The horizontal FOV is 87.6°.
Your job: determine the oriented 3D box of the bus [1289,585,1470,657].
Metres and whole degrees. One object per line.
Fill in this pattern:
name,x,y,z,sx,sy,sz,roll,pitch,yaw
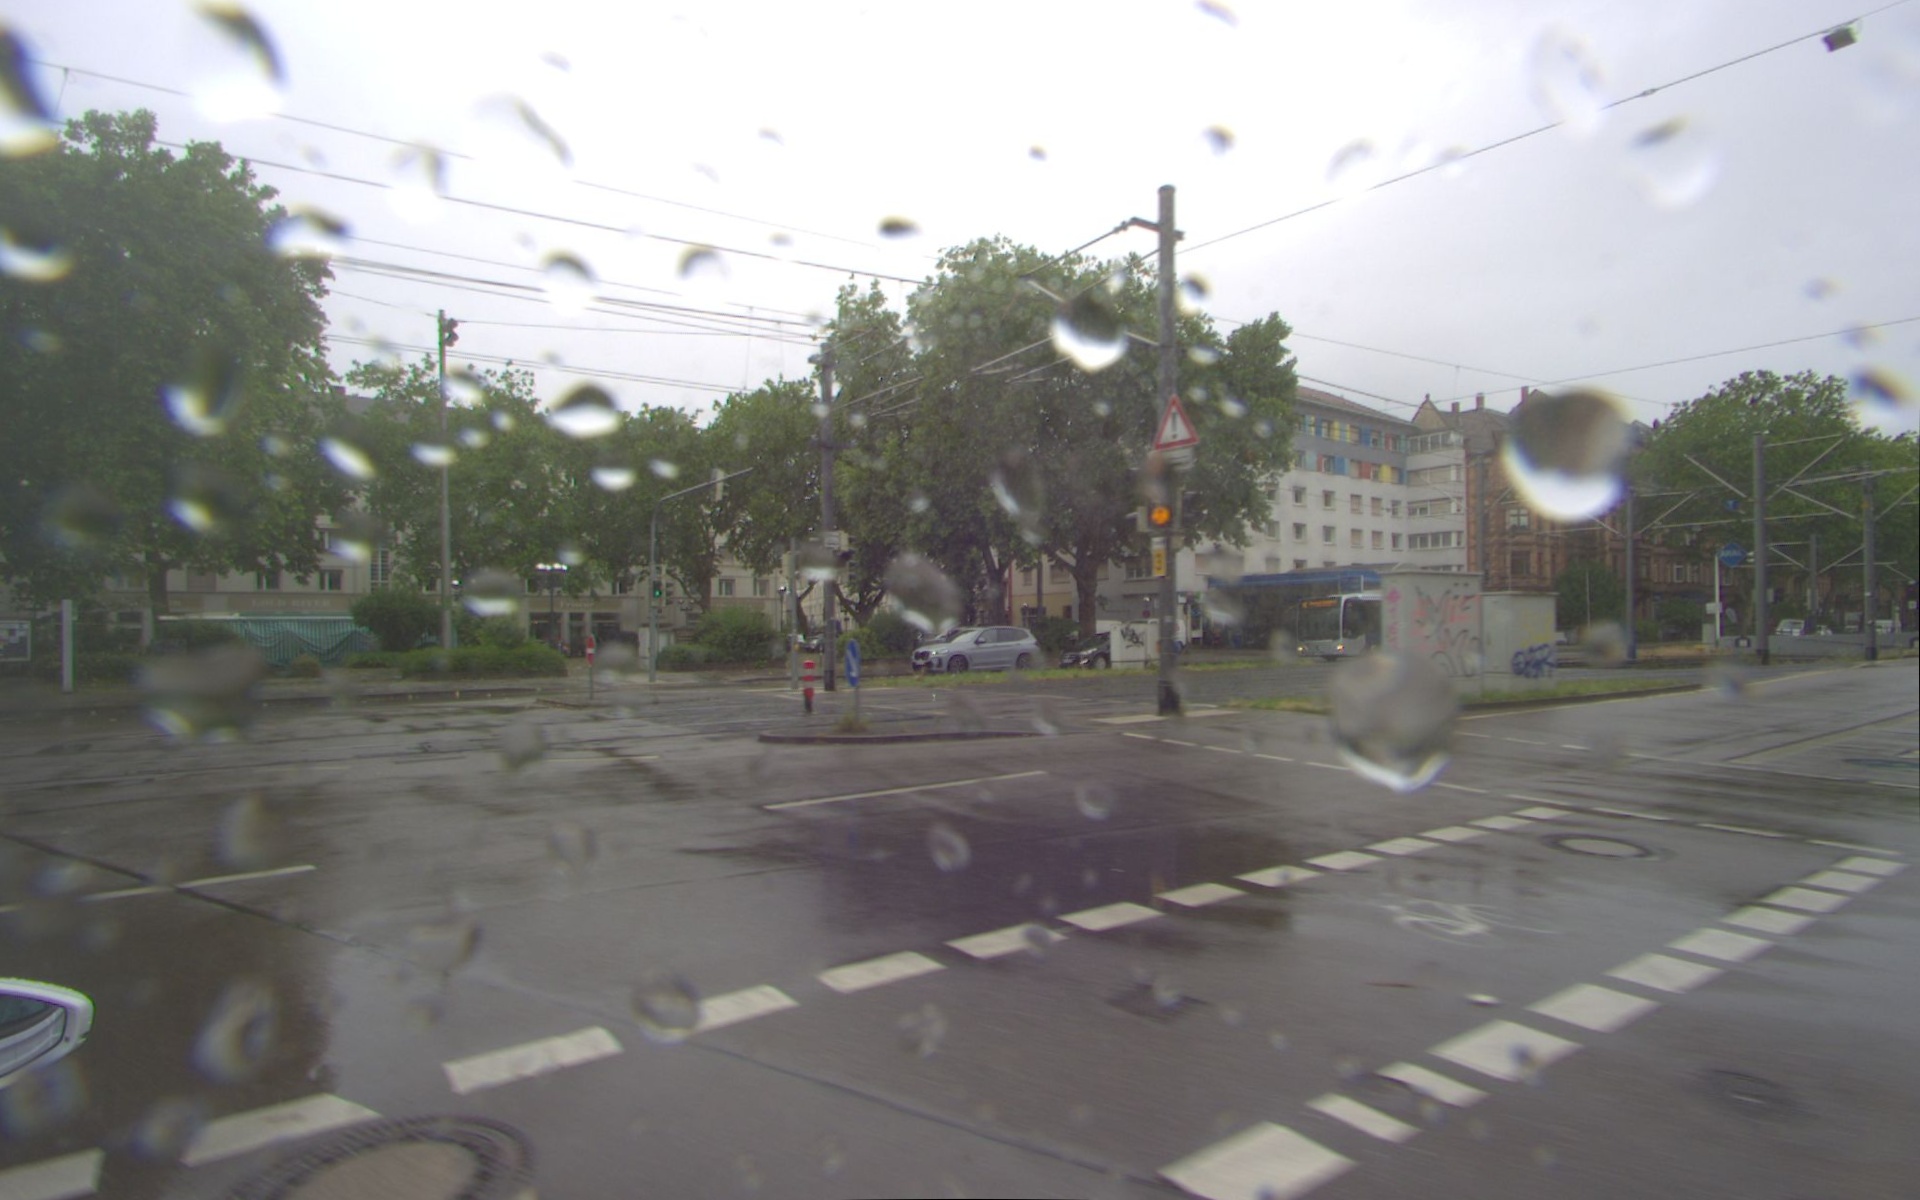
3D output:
bus,20.811,1.033,49.129,11.962,3.153,2.871,1,-1,-39

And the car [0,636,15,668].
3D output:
car,-50.366,2.731,52.007,1.666,1.595,3.706,0,-3,-40

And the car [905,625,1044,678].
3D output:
car,0.534,1.649,33.193,4.502,1.620,1.778,1,-1,-38

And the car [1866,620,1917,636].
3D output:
car,100.543,2.999,108.108,1.754,1.645,3.793,0,-2,-37

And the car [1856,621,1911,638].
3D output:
car,92.704,2.968,100.561,1.754,1.645,3.793,0,-2,-37

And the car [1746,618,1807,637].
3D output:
car,69.867,2.360,85.717,3.762,1.645,1.769,-1,-1,28

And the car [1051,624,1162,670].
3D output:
car,5.461,1.699,37.090,4.130,1.620,1.765,1,-1,-38

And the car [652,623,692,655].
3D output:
car,-21.383,2.903,74.282,1.535,2.230,4.073,0,-4,-36

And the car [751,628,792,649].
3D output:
car,-15.030,3.089,79.764,1.695,1.638,3.975,2,-4,-35

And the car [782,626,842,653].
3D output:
car,-9.554,2.556,64.442,1.979,1.638,3.965,0,-2,-41

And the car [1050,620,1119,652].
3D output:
car,7.449,2.140,59.688,4.215,1.801,1.723,0,-1,-41

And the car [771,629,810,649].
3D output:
car,-14.037,3.247,82.757,1.695,1.638,3.975,2,-4,-35

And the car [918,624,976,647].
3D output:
car,-0.931,2.490,71.119,3.851,1.572,1.814,0,-2,-40

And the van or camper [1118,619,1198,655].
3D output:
van or camper,11.112,2.039,56.029,4.621,1.939,1.983,1,-1,-41
